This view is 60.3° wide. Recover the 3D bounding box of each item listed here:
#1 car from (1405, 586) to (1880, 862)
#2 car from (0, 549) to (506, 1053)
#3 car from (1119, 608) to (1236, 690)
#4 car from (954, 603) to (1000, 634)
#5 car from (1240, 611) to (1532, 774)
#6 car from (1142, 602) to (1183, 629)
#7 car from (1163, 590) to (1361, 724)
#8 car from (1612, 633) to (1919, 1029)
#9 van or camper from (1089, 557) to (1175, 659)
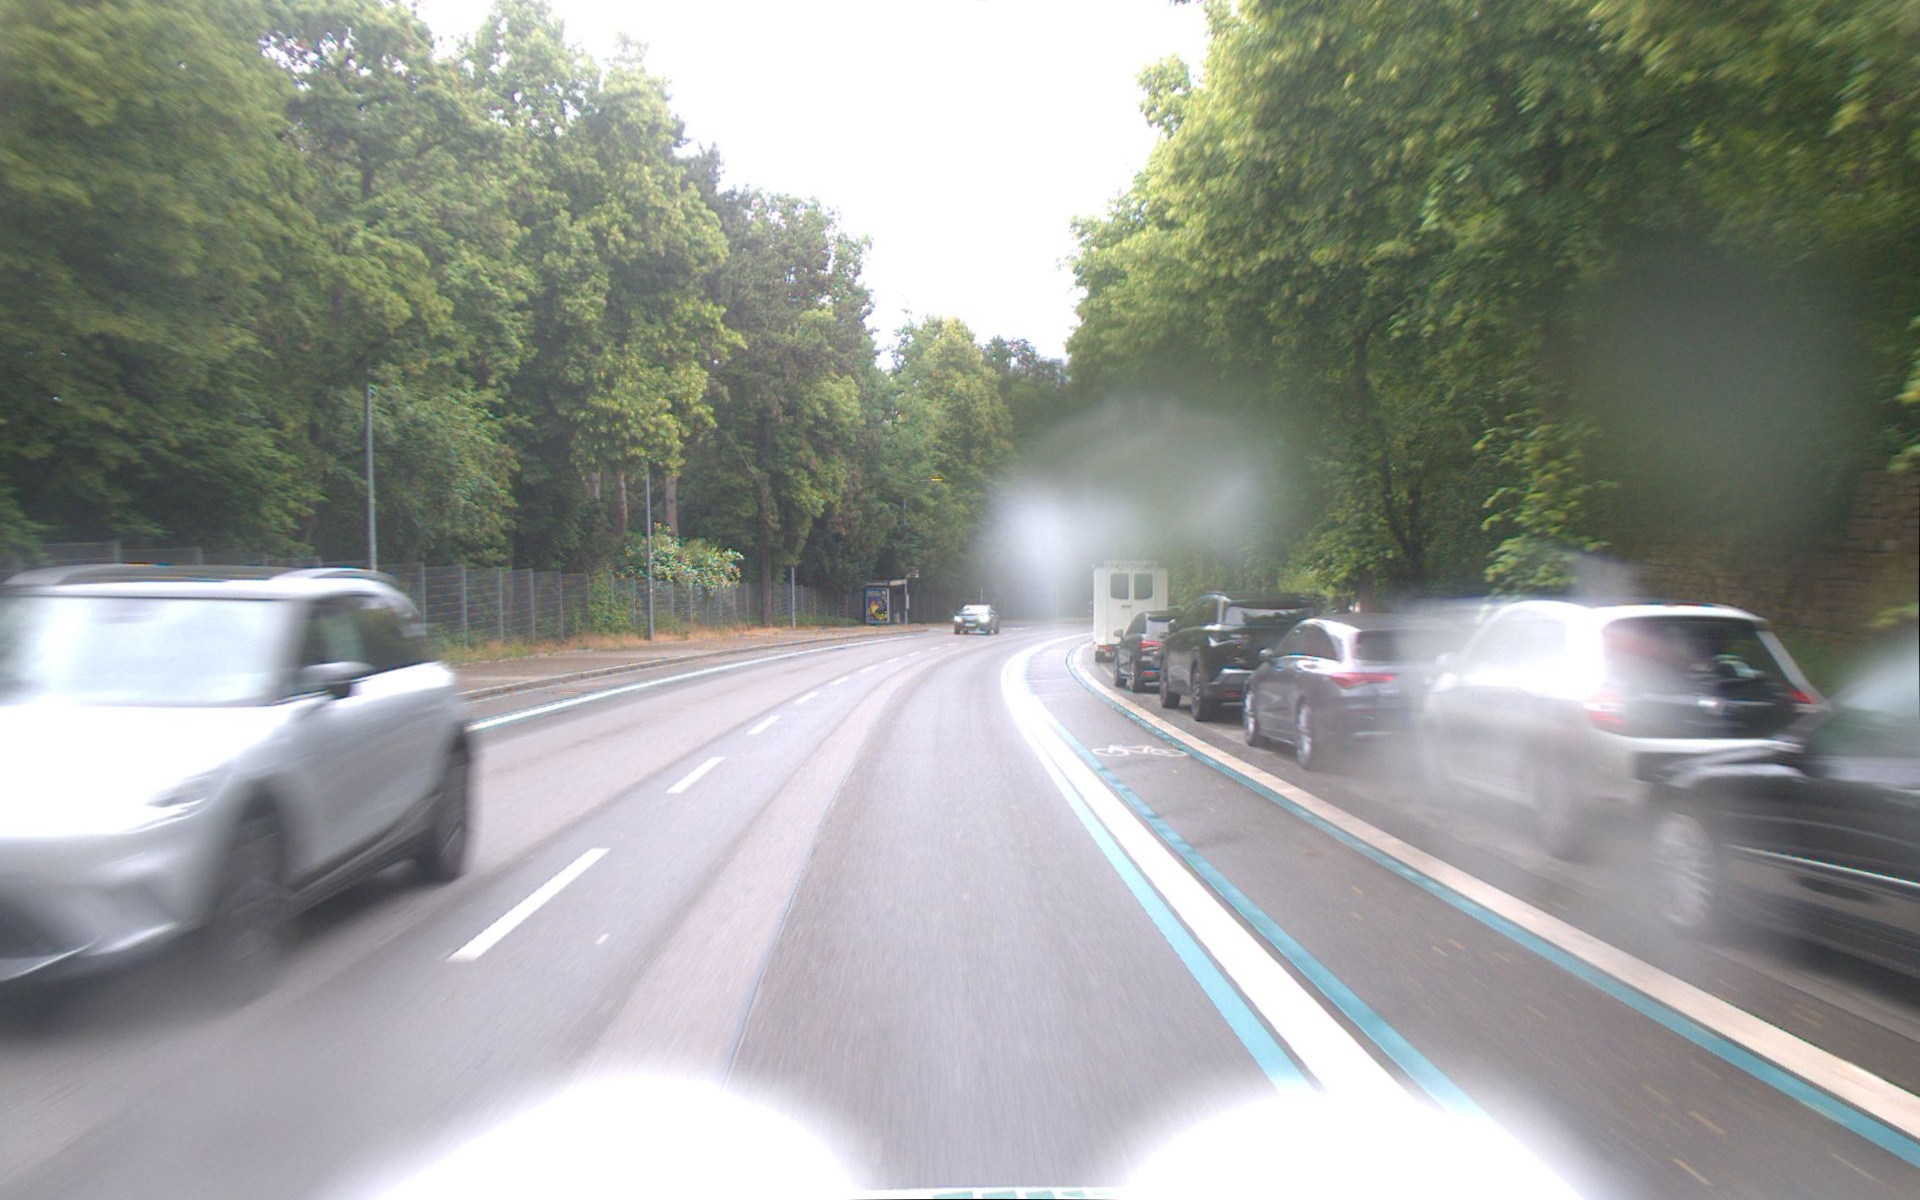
[{"bbox_3d":[4.404,0.714,11.311,1.627,1.562,3.740,1,0,-1],"label":"car"},{"bbox_3d":[-3.433,0.655,7.328,1.760,1.604,4.101,0,0,-1],"label":"car"},{"bbox_3d":[3.935,0.869,30.458,1.644,1.400,4.000,0,-1,0],"label":"car"},{"bbox_3d":[0.842,0.891,81.557,1.722,1.462,4.154,0,0,8],"label":"car"},{"bbox_3d":[3.987,0.802,16.247,1.738,1.372,4.466,0,-1,0],"label":"car"},{"bbox_3d":[11.694,0.880,95.275,1.820,1.453,4.653,1,0,13],"label":"car"},{"bbox_3d":[4.066,0.760,22.973,1.953,1.674,4.347,0,-1,0],"label":"car"},{"bbox_3d":[4.237,0.822,6.145,1.683,1.400,4.556,0,-1,-2],"label":"car"},{"bbox_3d":[4.879,0.201,47.282,2.268,2.711,6.386,0,0,5],"label":"van or camper"}]
